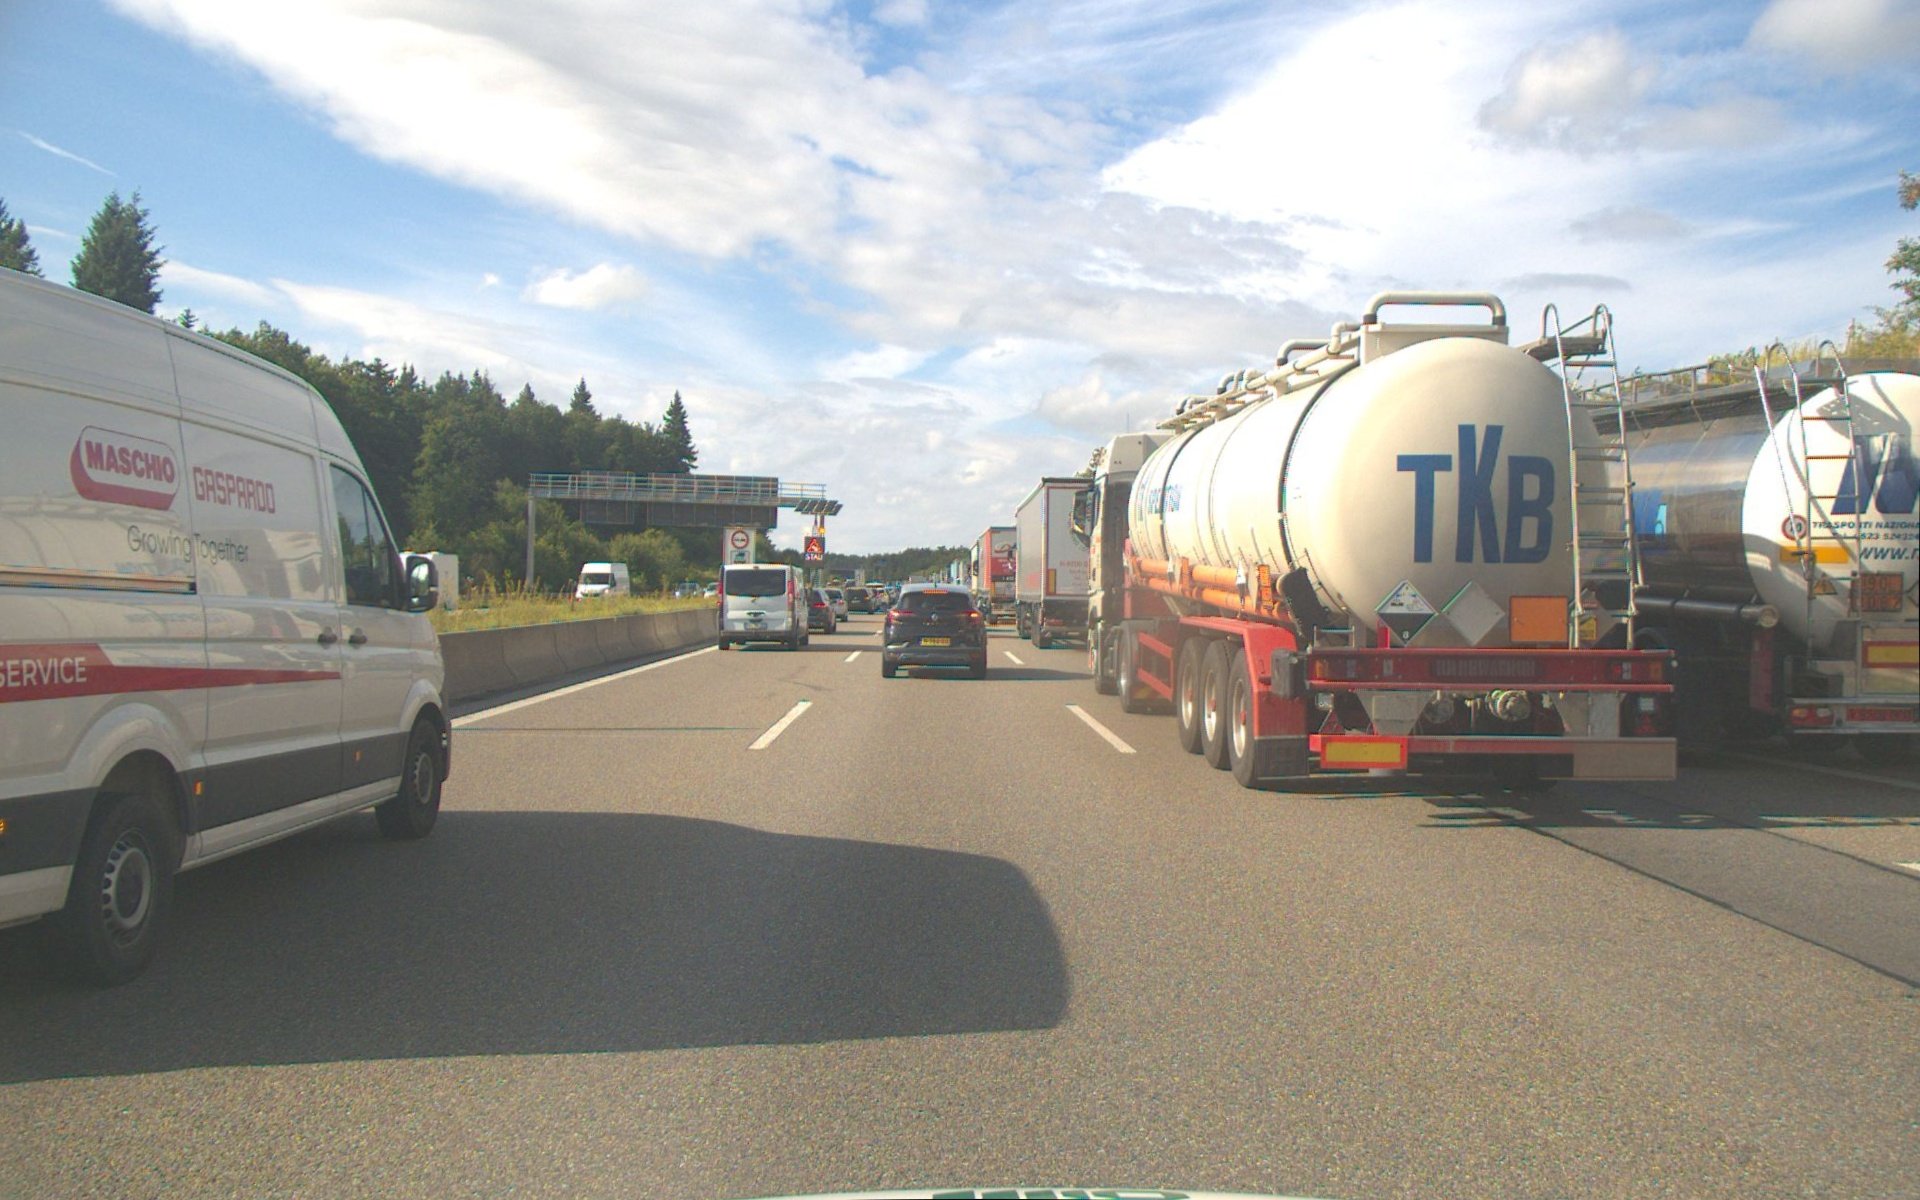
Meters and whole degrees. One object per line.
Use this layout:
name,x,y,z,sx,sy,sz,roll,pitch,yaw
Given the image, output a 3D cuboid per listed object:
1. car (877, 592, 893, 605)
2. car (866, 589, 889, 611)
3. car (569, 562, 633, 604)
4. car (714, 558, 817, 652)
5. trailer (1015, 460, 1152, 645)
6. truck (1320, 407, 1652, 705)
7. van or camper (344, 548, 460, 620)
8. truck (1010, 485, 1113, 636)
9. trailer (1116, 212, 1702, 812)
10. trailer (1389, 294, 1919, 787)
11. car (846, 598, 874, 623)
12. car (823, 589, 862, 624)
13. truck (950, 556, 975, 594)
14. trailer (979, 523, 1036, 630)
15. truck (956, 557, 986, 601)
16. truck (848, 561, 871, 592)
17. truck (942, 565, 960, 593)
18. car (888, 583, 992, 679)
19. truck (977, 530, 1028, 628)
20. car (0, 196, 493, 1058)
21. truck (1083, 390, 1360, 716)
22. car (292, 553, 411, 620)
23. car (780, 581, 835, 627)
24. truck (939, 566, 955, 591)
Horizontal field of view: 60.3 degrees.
car,-6.792,-0.131,150.407,1.333,1.179,3.084,0,0,-1
car,-5.561,-0.011,112.308,1.406,1.333,3.532,4,0,-2
car,-20.704,-0.958,95.689,2.269,2.231,6.861,4,0,-2
car,-4.668,0.111,40.351,1.894,2.013,5.097,4,0,-1
trailer,3.066,-1.115,44.069,2.745,4.318,11.055,0,0,0
truck,7.166,-0.543,23.589,2.478,3.636,6.774,0,0,-1
van or camper,-20.277,-0.564,60.419,2.409,2.456,5.850,1,0,-2
truck,3.000,-1.133,50.642,2.729,4.321,6.459,0,0,0
trailer,3.304,-0.553,15.619,2.489,3.717,10.624,0,0,-1
trailer,7.261,-0.450,17.622,2.489,3.661,10.624,0,0,-1
car,-5.629,0.576,93.233,1.406,1.333,3.532,4,0,-2
car,-5.171,0.291,72.999,1.470,1.420,3.475,4,0,-1
truck,0.177,-2.190,145.732,1.953,3.105,4.980,3,0,-1
trailer,1.976,-0.971,71.984,2.106,4.333,8.439,1,0,-1
truck,0.789,-1.494,120.566,1.953,2.982,4.980,3,0,-1
truck,-12.430,-2.921,205.239,2.297,3.656,6.304,3,0,-1
truck,-1.036,-2.426,191.229,1.953,3.105,4.980,3,0,-1
car,-0.374,0.491,28.945,1.662,1.508,4.159,1,1,-1
truck,1.941,-0.958,77.541,2.090,4.356,6.337,1,0,-1
car,-3.995,0.078,7.783,1.974,2.644,6.180,0,0,-1
truck,3.191,-0.533,21.967,2.482,3.646,6.728,0,0,-1
car,-20.093,-0.426,54.851,2.194,2.093,5.081,1,0,-2
car,-4.834,0.118,52.743,1.469,1.420,3.475,0,0,-1
truck,-1.744,-2.773,217.896,1.953,3.105,4.980,3,0,-1
